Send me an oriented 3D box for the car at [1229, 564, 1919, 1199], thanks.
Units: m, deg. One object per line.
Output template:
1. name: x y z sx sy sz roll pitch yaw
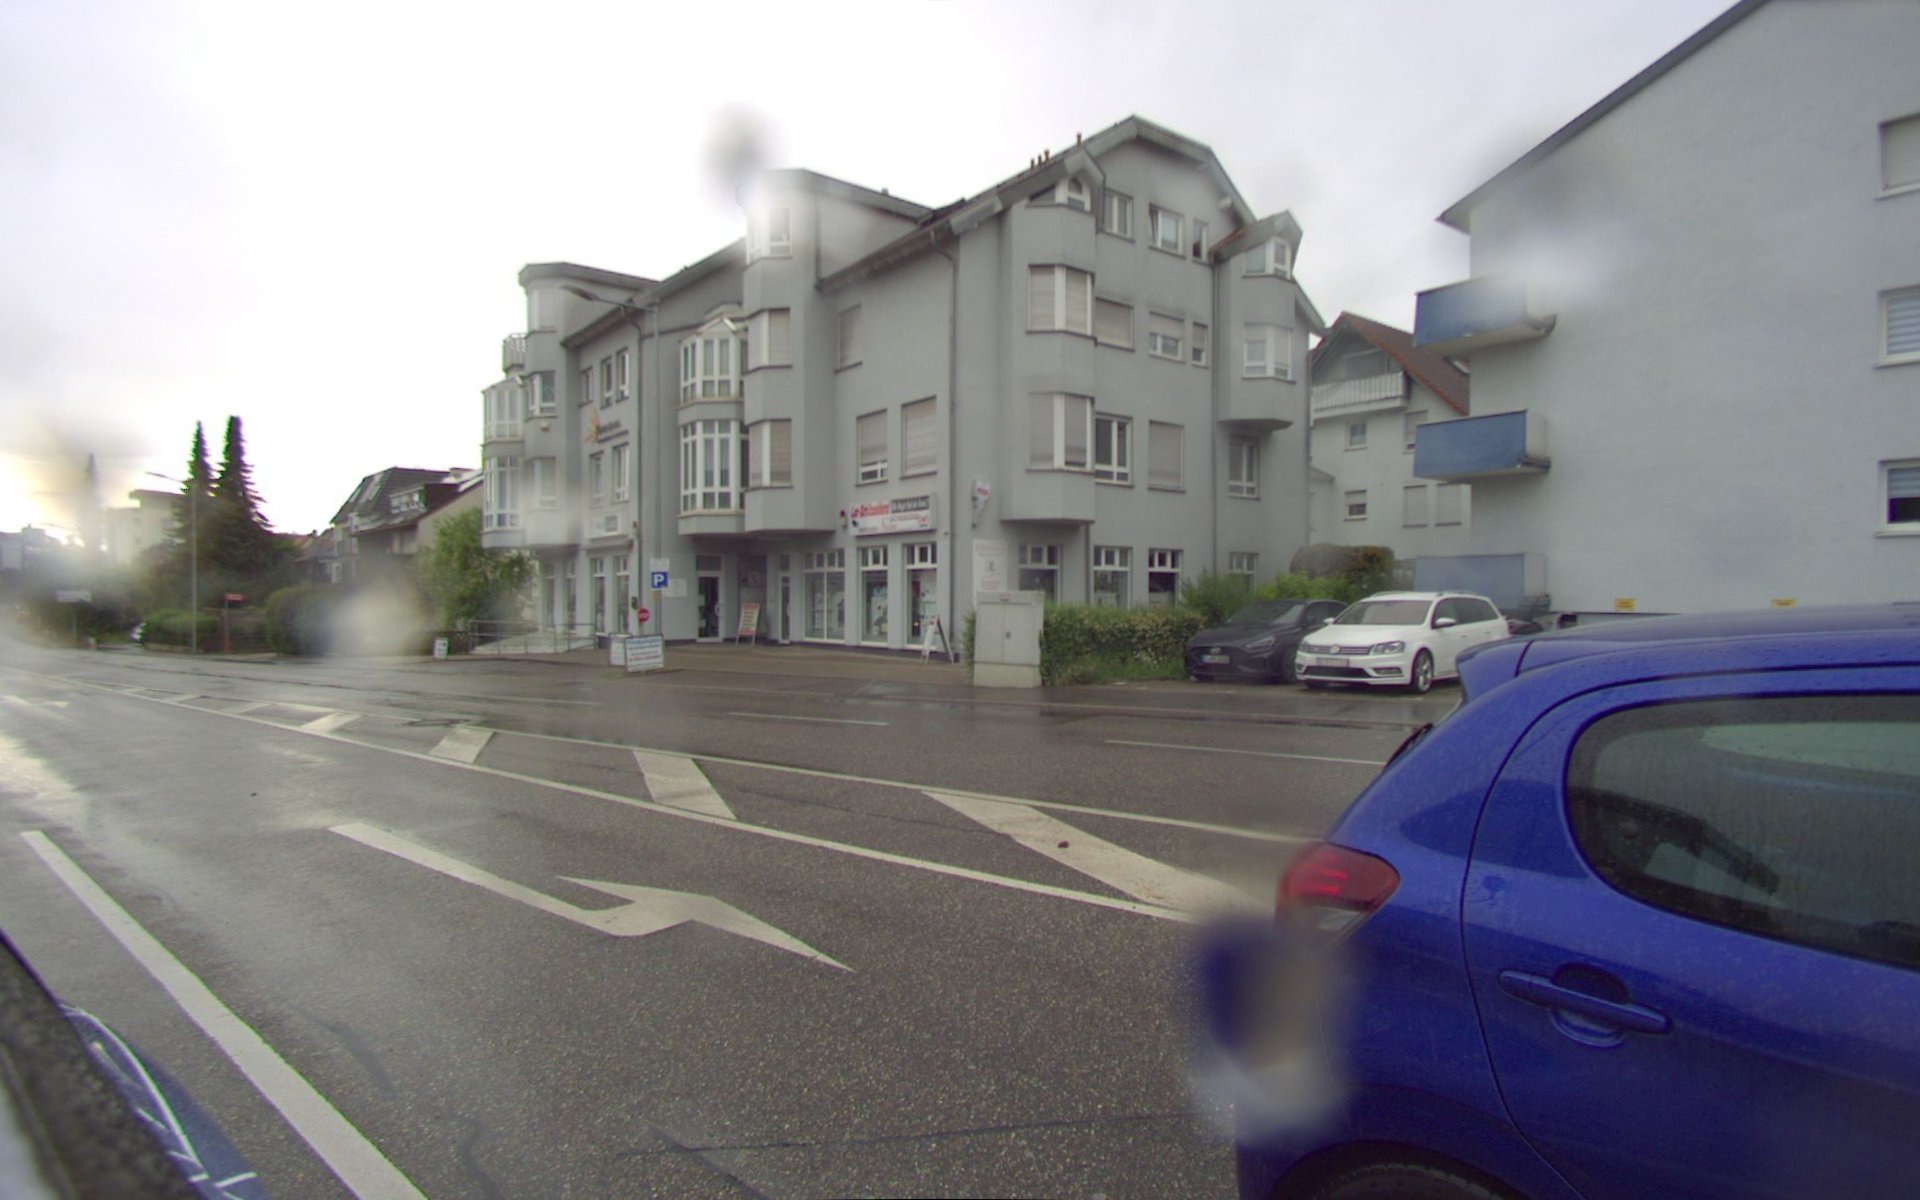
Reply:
1. car: 2.229 0.640 1.204 3.362 1.423 1.489 -2 -1 41

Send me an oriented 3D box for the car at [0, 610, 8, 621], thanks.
1. car: -163.435 2.593 172.113 4.001 1.798 1.972 -1 0 43

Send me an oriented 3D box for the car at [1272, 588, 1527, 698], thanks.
1. car: 6.976 0.609 15.812 4.685 1.471 1.883 0 -2 -42

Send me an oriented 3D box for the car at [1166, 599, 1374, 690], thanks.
1. car: 5.487 0.694 17.657 1.851 1.366 3.941 -1 0 45

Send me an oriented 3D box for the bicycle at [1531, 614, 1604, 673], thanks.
1. bicycle: 11.137 0.796 18.568 1.065 1.061 0.343 -2 -1 41
